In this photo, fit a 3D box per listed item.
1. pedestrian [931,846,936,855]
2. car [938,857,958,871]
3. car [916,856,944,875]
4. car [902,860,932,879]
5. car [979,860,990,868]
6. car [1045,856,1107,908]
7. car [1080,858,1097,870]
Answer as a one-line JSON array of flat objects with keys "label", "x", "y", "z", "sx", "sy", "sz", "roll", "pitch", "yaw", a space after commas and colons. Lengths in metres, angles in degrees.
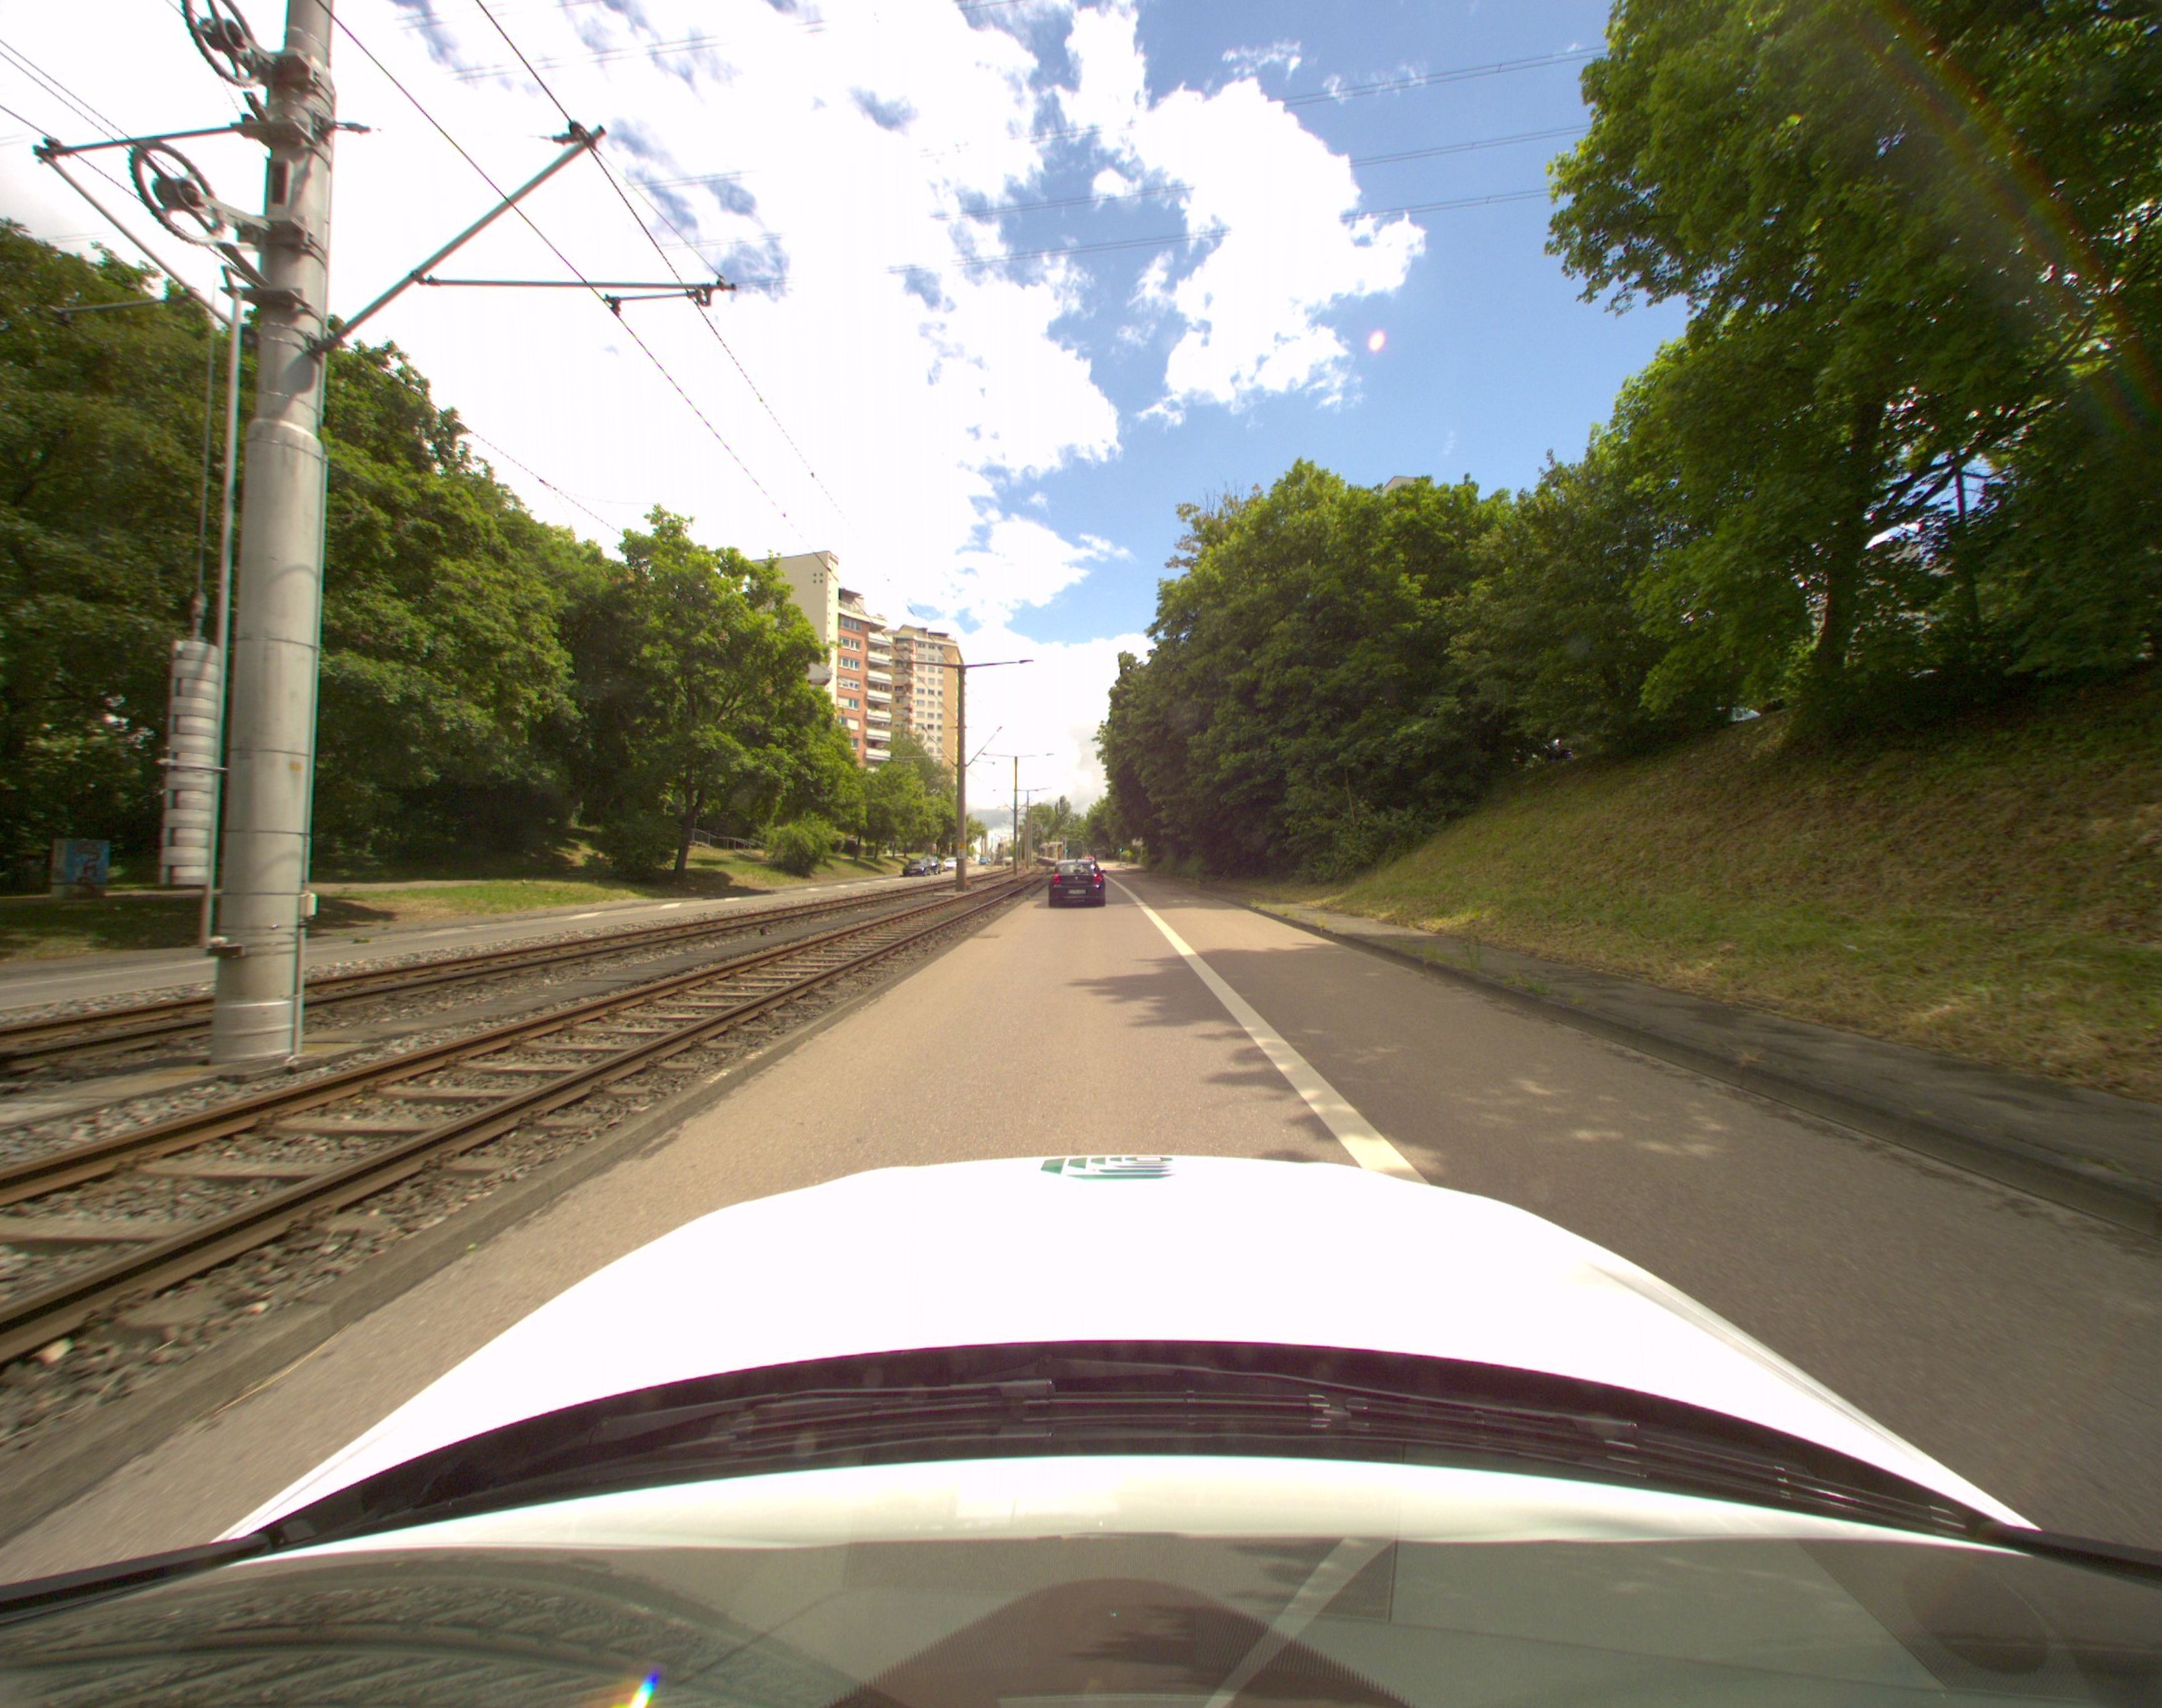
[{"label": "pedestrian", "x": -25.337, "y": -0.632, "z": 139.872, "sx": 0.629, "sy": 1.534, "sz": 0.637, "roll": -1, "pitch": 0, "yaw": 18}, {"label": "car", "x": -14.757, "y": 1.086, "z": 90.643, "sx": 1.778, "sy": 1.532, "sz": 4.237, "roll": -1, "pitch": 0, "yaw": -5}, {"label": "car", "x": -13.579, "y": 1.021, "z": 73.536, "sx": 1.770, "sy": 1.630, "sz": 4.378, "roll": -1, "pitch": -1, "yaw": -2}, {"label": "car", "x": -13.407, "y": 1.239, "z": 66.725, "sx": 1.770, "sy": 1.498, "sz": 3.994, "roll": 0, "pitch": 0, "yaw": -2}, {"label": "car", "x": -17.591, "y": 1.809, "z": 148.925, "sx": 1.716, "sy": 1.442, "sz": 3.928, "roll": 0, "pitch": 0, "yaw": -10}, {"label": "car", "x": -0.192, "y": 0.818, "z": 25.625, "sx": 1.776, "sy": 1.459, "sz": 3.918, "roll": -1, "pitch": 0, "yaw": -1}, {"label": "car", "x": 0.927, "y": 1.221, "z": 101.919, "sx": 1.777, "sy": 1.459, "sz": 3.916, "roll": 0, "pitch": 0, "yaw": -3}]
